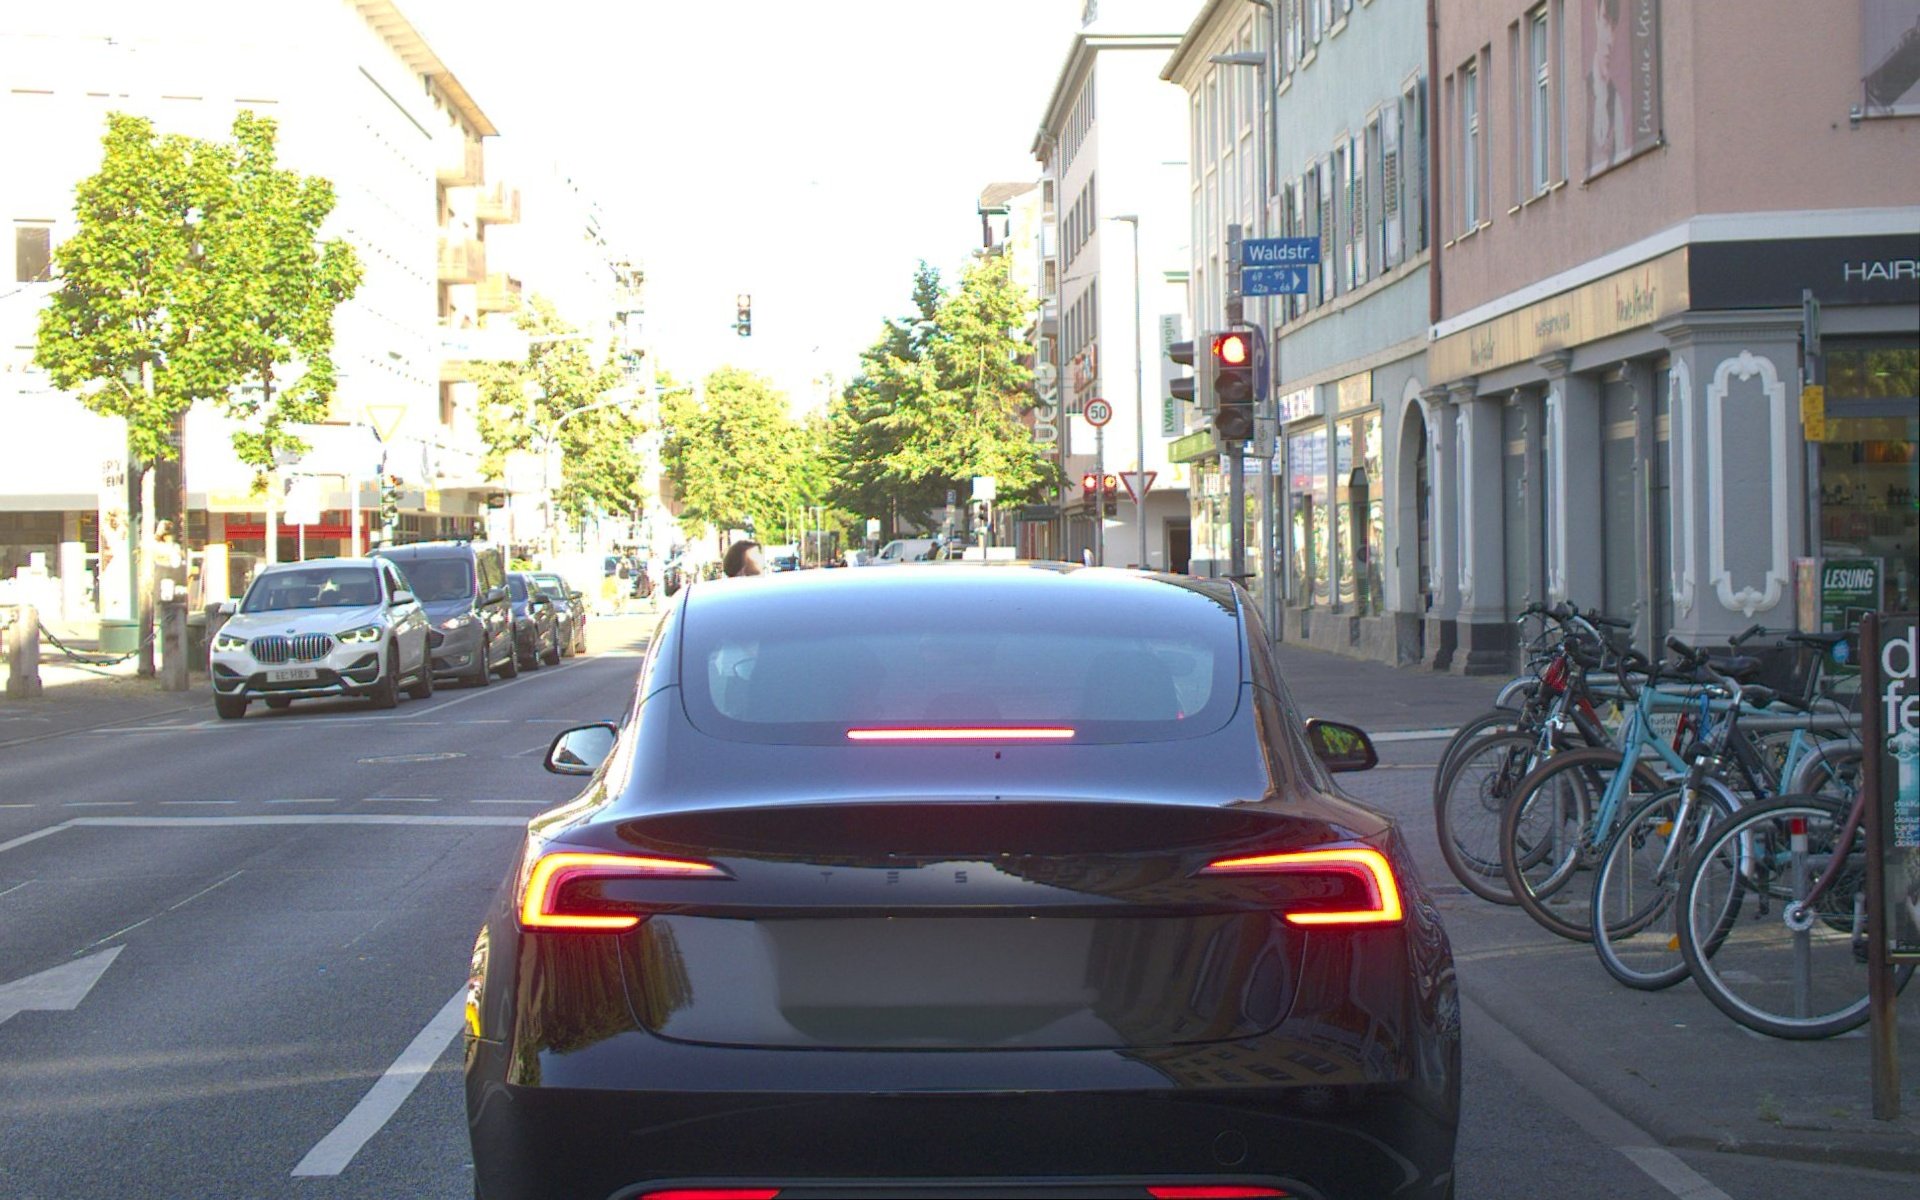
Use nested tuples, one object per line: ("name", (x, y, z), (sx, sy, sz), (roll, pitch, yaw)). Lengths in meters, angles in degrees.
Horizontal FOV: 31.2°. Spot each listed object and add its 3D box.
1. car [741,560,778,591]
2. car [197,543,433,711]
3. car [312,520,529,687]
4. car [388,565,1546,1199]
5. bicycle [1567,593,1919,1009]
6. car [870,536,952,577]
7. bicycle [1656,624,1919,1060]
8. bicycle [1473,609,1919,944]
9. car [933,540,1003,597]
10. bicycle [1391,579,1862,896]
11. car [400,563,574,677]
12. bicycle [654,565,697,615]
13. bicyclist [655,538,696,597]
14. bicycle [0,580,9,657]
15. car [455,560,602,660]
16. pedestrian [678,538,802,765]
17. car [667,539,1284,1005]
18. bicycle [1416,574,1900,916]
("car", (-10.929, -1.355, 187.075), (1.993, 1.631, 4.001), (0, 1, -3))
("car", (-6.746, 0.235, 36.362), (1.807, 1.550, 4.310), (-4, 1, -3))
("car", (-6.612, -0.007, 42.604), (1.834, 1.838, 4.674), (-4, 1, 0))
("car", (-0.009, 0.656, 7.500), (1.848, 1.450, 4.000), (0, 1, -1))
("bicycle", (2.888, 0.622, 11.118), (1.722, 1.263, 0.790), (-2, 1, 5))
("car", (-2.409, -2.137, 167.553), (3.986, 2.007, 2.000), (0, 1, -2))
("bicycle", (3.034, 0.671, 9.986), (1.886, 1.189, 0.691), (-2, 1, 5))
("bicycle", (2.808, 0.624, 12.470), (1.798, 1.120, 0.781), (-2, 1, 5))
("car", (0.222, -0.920, 100.821), (1.993, 1.623, 4.000), (0, 1, 0))
("bicycle", (2.812, 0.571, 14.678), (1.862, 1.253, 0.832), (-2, 1, 5))
("car", (-6.742, 0.244, 49.432), (1.993, 1.405, 4.675), (-4, 1, -3))
("bicycle", (-7.888, -0.288, 95.530), (1.111, 1.340, 4.001), (0, 1, -3))
("bicyclist", (-7.905, -0.903, 95.614), (1.126, 1.623, 0.965), (0, 1, -3))
("bicycle", (-15.708, 0.285, 52.232), (2.323, 1.152, 0.843), (0, 1, -5))
("car", (-7.107, 0.126, 57.023), (1.993, 1.431, 4.675), (-4, 1, -3))
("pedestrian", (-1.534, 0.343, 23.887), (0.747, 1.547, 0.699), (0, 1, -14))
("car", (-0.017, 0.521, 13.208), (1.993, 1.507, 4.176), (0, 1, -2))
("bicycle", (2.742, 0.559, 13.648), (1.746, 1.262, 0.781), (-2, 1, 3))
